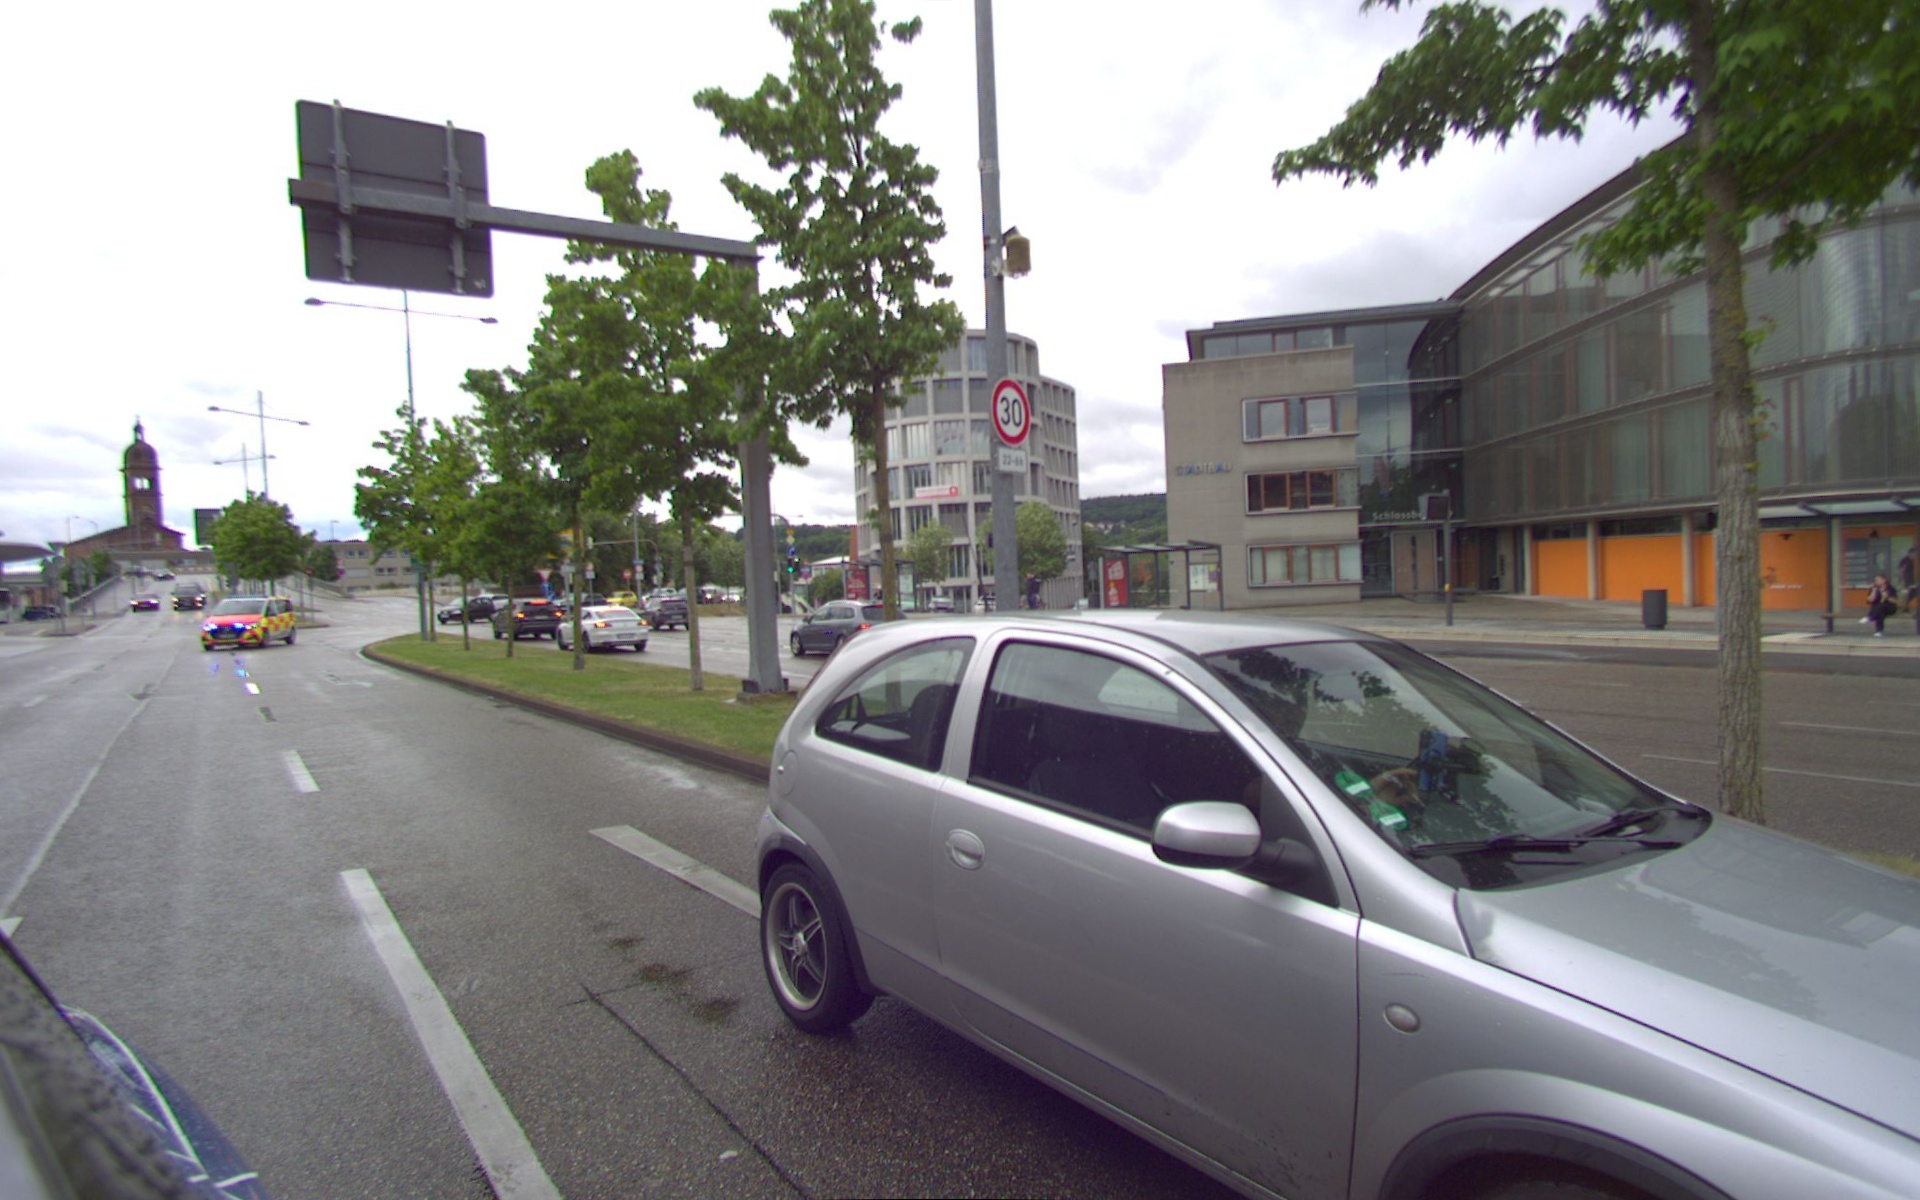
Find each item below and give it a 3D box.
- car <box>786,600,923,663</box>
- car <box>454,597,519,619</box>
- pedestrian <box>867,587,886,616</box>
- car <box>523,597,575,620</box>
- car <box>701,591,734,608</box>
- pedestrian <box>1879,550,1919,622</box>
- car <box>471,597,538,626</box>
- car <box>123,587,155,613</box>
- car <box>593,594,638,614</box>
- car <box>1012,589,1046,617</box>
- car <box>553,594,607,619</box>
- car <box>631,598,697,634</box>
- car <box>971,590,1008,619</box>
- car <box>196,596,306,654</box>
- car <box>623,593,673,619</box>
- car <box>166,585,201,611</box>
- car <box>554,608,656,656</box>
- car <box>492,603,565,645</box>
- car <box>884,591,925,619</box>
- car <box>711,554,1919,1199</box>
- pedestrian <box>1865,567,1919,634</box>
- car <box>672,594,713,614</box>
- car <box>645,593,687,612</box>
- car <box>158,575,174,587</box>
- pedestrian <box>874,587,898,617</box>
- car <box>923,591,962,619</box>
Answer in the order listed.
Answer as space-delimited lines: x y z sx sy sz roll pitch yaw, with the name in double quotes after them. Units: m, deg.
-2.869 0.758 26.568 1.672 1.476 4.464 0 0 -34 "car"
-34.579 0.588 74.041 1.805 1.571 4.007 0 0 31 "car"
-4.349 0.088 52.823 0.721 1.501 0.736 0 0 -28 "pedestrian"
-31.799 0.625 78.383 1.856 1.714 4.145 0 0 9 "car"
-24.468 -0.038 102.235 1.856 1.646 4.144 0 0 10 "car"
23.981 -0.343 25.569 0.773 1.769 0.827 1 0 -12 "pedestrian"
-27.882 0.652 62.094 1.855 1.714 4.147 0 0 8 "car"
-66.540 -0.004 81.986 1.968 2.029 4.007 0 0 -40 "car"
-29.635 0.326 87.286 1.856 1.646 4.288 0 0 10 "car"
4.405 0.184 64.173 1.855 1.714 4.147 0 0 8 "car"
-27.690 0.451 73.862 1.856 1.714 4.145 0 0 9 "car"
-13.755 0.717 46.903 1.854 1.566 4.013 0 0 -34 "car"
1.884 0.252 64.255 1.855 1.714 4.147 -1 0 8 "car"
-26.705 0.874 38.343 1.966 2.029 5.077 0 0 -17 "car"
-19.163 0.333 61.981 1.854 1.566 4.013 0 0 -34 "car"
-63.356 -0.140 82.540 1.969 2.029 4.005 0 0 -42 "car"
-11.287 0.948 31.988 1.978 1.363 4.175 0 0 -35 "car"
-17.543 0.923 41.034 1.978 1.566 4.176 0 0 -34 "car"
-3.550 0.302 65.179 1.855 1.714 4.147 0 0 8 "car"
0.877 0.683 2.792 1.673 1.477 3.728 0 0 -38 "car"
18.672 0.012 20.222 0.657 1.309 0.722 0 0 -31 "pedestrian"
-22.862 0.353 86.561 1.856 1.646 4.145 0 0 9 "car"
-25.865 0.237 89.098 1.856 1.646 4.288 0 0 10 "car"
-108.835 -2.645 138.713 1.526 1.572 3.655 0 0 -42 "car"
-3.802 0.086 51.970 0.967 1.501 0.736 0 0 -27 "pedestrian"
-1.107 0.286 64.703 1.855 1.714 4.147 0 0 8 "car"
